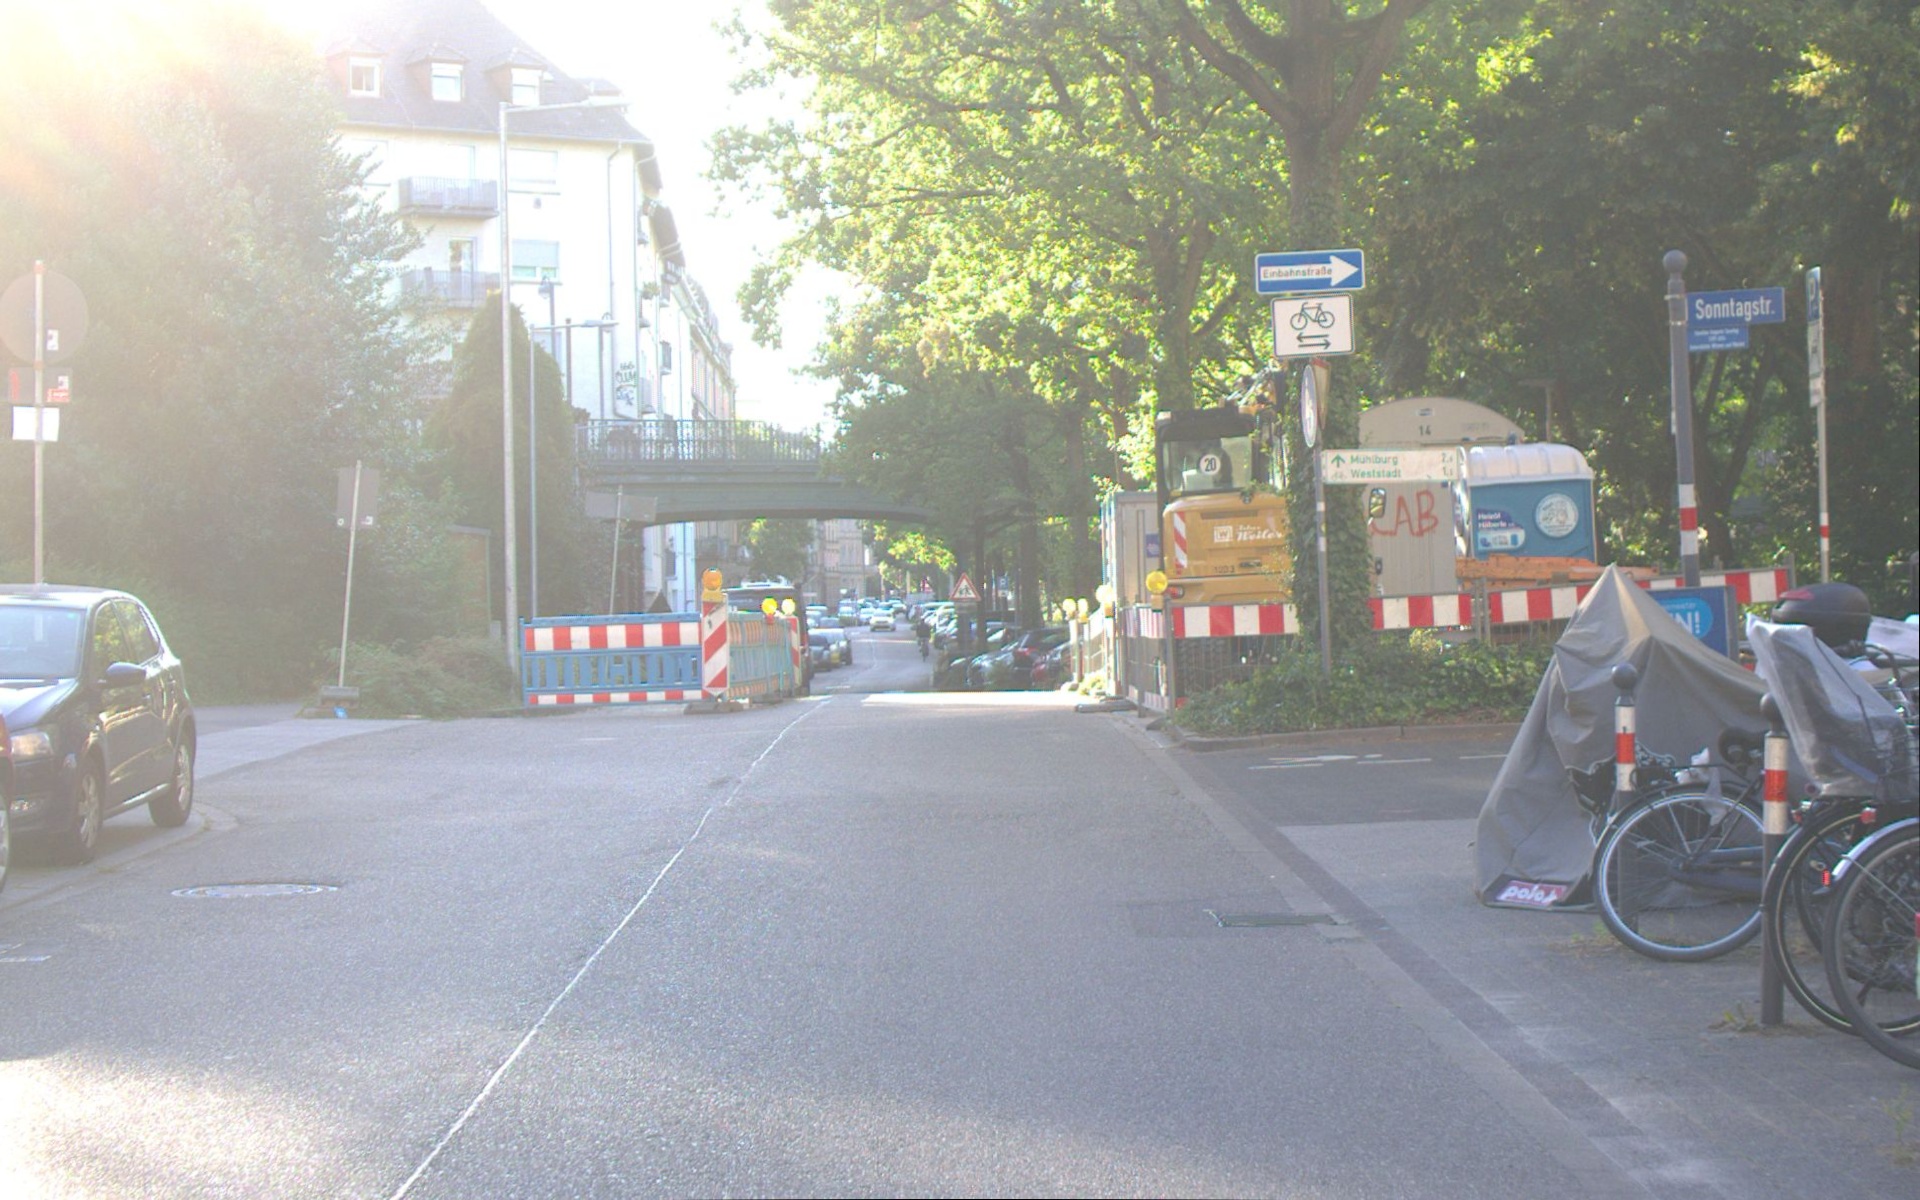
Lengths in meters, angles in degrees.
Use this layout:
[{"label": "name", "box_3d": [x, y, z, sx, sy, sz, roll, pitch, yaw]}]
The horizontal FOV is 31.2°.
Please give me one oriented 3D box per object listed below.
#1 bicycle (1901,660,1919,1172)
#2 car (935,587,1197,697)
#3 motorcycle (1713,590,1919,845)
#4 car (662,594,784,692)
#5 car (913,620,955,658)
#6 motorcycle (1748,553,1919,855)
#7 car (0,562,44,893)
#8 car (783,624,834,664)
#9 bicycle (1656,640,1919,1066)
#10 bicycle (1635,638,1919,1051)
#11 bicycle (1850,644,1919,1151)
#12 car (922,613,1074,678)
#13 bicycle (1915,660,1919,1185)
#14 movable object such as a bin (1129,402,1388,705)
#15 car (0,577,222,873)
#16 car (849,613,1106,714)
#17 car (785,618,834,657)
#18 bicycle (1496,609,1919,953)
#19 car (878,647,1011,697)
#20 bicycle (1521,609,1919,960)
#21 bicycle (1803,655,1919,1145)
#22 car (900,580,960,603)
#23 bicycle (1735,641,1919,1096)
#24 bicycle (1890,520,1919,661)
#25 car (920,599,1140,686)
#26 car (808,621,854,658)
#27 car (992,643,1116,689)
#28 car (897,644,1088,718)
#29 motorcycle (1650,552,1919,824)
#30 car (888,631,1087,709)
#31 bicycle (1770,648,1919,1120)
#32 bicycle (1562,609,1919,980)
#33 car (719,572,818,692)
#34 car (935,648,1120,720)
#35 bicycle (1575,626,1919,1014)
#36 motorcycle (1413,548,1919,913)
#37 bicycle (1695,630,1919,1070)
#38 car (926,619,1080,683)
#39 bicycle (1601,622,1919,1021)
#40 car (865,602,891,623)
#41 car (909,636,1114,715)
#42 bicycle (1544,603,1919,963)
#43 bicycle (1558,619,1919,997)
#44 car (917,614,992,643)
[{"label": "bicycle", "box_3d": [3.289, 0.759, 8.395, 1.924, 1.242, 0.303, -1, 1, -6]}, {"label": "car", "box_3d": [1.952, 0.802, 64.421, 4.741, 1.990, 1.917, 0, -2, -4]}, {"label": "motorcycle", "box_3d": [4.758, 0.542, 16.356, 2.284, 1.176, 0.970, -1, 0, 13]}, {"label": "car", "box_3d": [-3.749, 0.714, 54.902, 1.715, 1.413, 4.106, -2, -2, -1]}, {"label": "car", "box_3d": [-1.133, 1.676, 147.899, 1.775, 1.604, 4.402, -1, -1, -1]}, {"label": "motorcycle", "box_3d": [4.734, 0.453, 15.469, 2.284, 1.337, 0.656, -1, 0, 12]}, {"label": "car", "box_3d": [-5.225, 0.613, 14.764, 1.669, 1.525, 4.000, -1, 1, -3]}, {"label": "car", "box_3d": [-5.777, 1.681, 131.545, 1.812, 1.393, 3.975, -2, -2, -1]}, {"label": "bicycle", "box_3d": [3.099, 0.743, 10.422, 1.924, 1.242, 0.303, -1, 1, -6]}, {"label": "bicycle", "box_3d": [3.093, 0.745, 10.765, 1.905, 1.242, 0.303, -1, 1, -6]}, {"label": "bicycle", "box_3d": [3.252, 0.724, 8.730, 1.924, 1.242, 0.303, -1, 1, -6]}, {"label": "car", "box_3d": [1.099, 1.356, 101.972, 4.387, 1.855, 1.917, 0, -2, -3]}, {"label": "bicycle", "box_3d": [3.237, 0.752, 8.079, 1.924, 1.242, 0.303, -1, 1, -6]}, {"label": "movable object such as a bin", "box_3d": [2.860, -0.426, 32.372, 1.995, 2.690, 3.108, -1, 0, 13]}, {"label": "car", "box_3d": [-5.376, 0.622, 19.217, 1.669, 1.453, 4.000, -1, 1, -1]}, {"label": "car", "box_3d": [0.274, 1.123, 59.848, 4.387, 1.696, 1.917, 0, -2, -3]}, {"label": "car", "box_3d": [-5.971, 1.488, 136.575, 1.812, 1.393, 3.975, -2, -2, -1]}, {"label": "bicycle", "box_3d": [3.010, 0.669, 12.972, 1.924, 1.242, 0.303, -1, 1, -6]}, {"label": "car", "box_3d": [-0.529, 2.428, 115.691, 4.387, 1.604, 1.781, 0, -2, -3]}, {"label": "bicycle", "box_3d": [3.049, 0.663, 12.642, 1.924, 1.242, 0.303, -1, 1, -6]}, {"label": "bicycle", "box_3d": [3.211, 0.760, 9.054, 1.924, 1.242, 0.303, -1, 1, -6]}, {"label": "car", "box_3d": [-2.231, -0.607, 255.169, 4.387, 1.604, 1.781, 0, -2, 0]}, {"label": "bicycle", "box_3d": [3.187, 0.735, 9.743, 1.924, 1.242, 0.303, -1, 1, -6]}, {"label": "bicycle", "box_3d": [9.381, -0.094, 30.949, 1.023, 1.281, 2.148, -2, 1, -13]}, {"label": "car", "box_3d": [1.406, 0.889, 70.621, 4.387, 1.696, 1.917, 0, -2, -3]}, {"label": "car", "box_3d": [-5.294, 1.646, 141.685, 1.812, 1.393, 3.975, -2, -2, -1]}, {"label": "car", "box_3d": [3.362, 2.388, 123.763, 4.387, 1.604, 1.781, 0, -2, 0]}, {"label": "car", "box_3d": [0.740, 1.912, 80.878, 4.387, 1.696, 1.917, 0, -2, -3]}, {"label": "motorcycle", "box_3d": [4.864, 0.422, 17.723, 2.364, 1.337, 0.941, -1, 0, -10]}, {"label": "car", "box_3d": [0.597, 1.596, 77.795, 4.387, 1.696, 1.917, 0, -2, -3]}, {"label": "bicycle", "box_3d": [3.207, 0.748, 9.401, 1.924, 1.242, 0.303, -1, 1, -6]}, {"label": "bicycle", "box_3d": [3.087, 0.661, 11.984, 1.924, 1.242, 0.303, -1, 1, -6]}, {"label": "car", "box_3d": [-4.147, 0.742, 74.733, 2.047, 2.489, 5.697, 0, -2, -3]}, {"label": "car", "box_3d": [1.632, 2.065, 84.142, 4.387, 1.696, 1.917, 0, -2, -3]}, {"label": "bicycle", "box_3d": [3.035, 0.713, 11.444, 1.924, 1.242, 0.303, -1, 1, -6]}, {"label": "motorcycle", "box_3d": [2.946, 0.504, 14.137, 1.935, 1.408, 0.939, 0, 1, 28]}, {"label": "bicycle", "box_3d": [3.143, 0.708, 10.082, 1.924, 1.242, 0.303, -1, 1, -6]}, {"label": "car", "box_3d": [1.230, 1.488, 100.117, 4.387, 1.779, 1.917, 0, -2, -3]}, {"label": "bicycle", "box_3d": [3.059, 0.695, 11.103, 1.924, 1.242, 0.303, -1, 1, -6]}, {"label": "car", "box_3d": [-5.933, 0.908, 248.900, 1.812, 1.393, 3.975, -2, -2, -1]}, {"label": "car", "box_3d": [1.104, 1.670, 75.633, 4.387, 1.696, 1.917, 0, -2, -3]}, {"label": "bicycle", "box_3d": [3.079, 0.640, 12.321, 1.924, 1.242, 0.303, -1, 1, -6]}, {"label": "bicycle", "box_3d": [3.036, 0.695, 11.775, 1.924, 1.242, 0.303, -1, 1, -6]}, {"label": "car", "box_3d": [-0.341, 1.699, 203.374, 4.387, 1.604, 1.781, 0, -2, 0]}]
